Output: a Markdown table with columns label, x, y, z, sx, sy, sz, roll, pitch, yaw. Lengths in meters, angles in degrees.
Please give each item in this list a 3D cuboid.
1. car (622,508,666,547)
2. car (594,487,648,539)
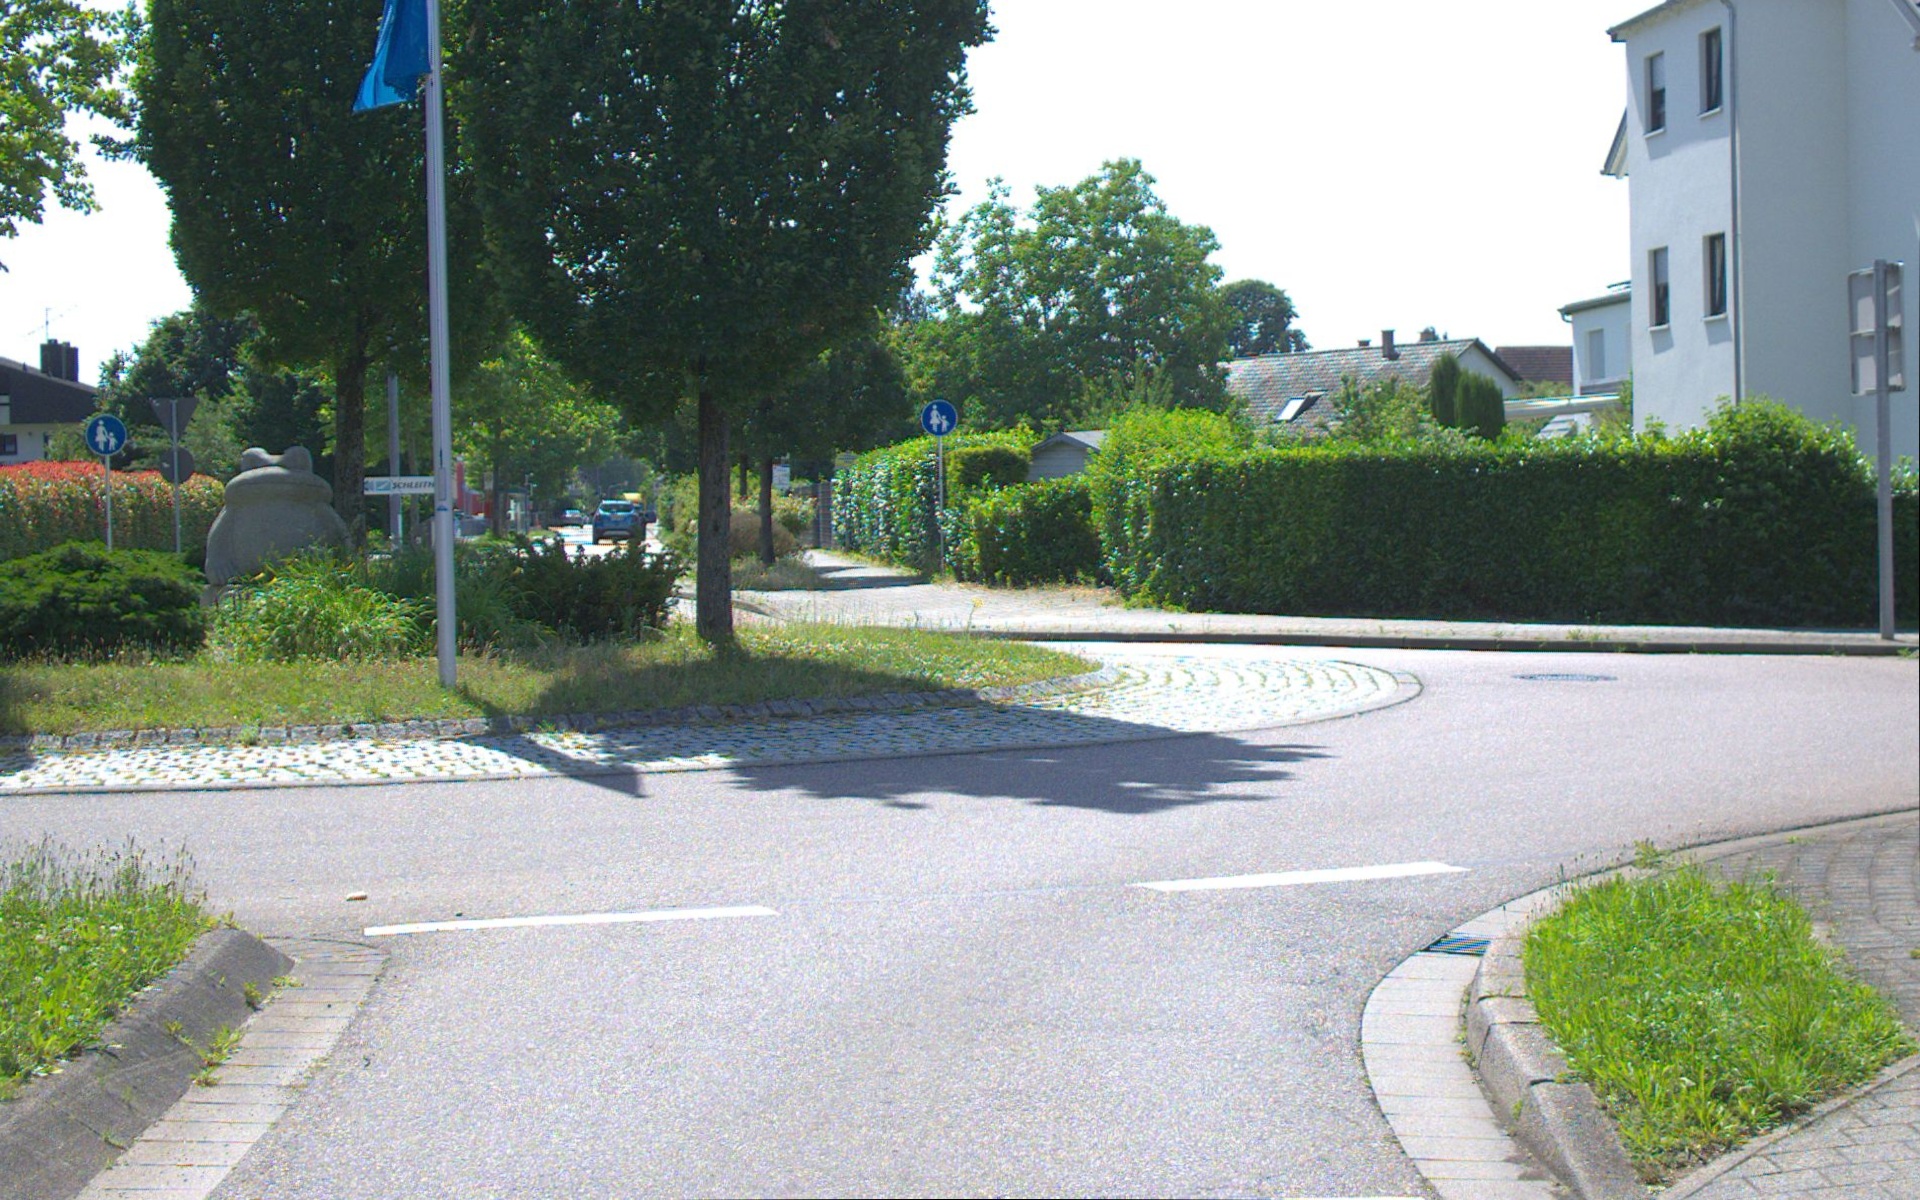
| label | x | y | z | sx | sy | sz | roll | pitch | yaw |
| --- | --- | --- | --- | --- | --- | --- | --- | --- | --- |
| car | -14.805 | -3.400 | 161.408 | 1.993 | 1.764 | 4.001 | 0 | 1 | -4 |
| car | -12.545 | -3.203 | 127.335 | 1.922 | 1.879 | 4.001 | 0 | 1 | -5 |
